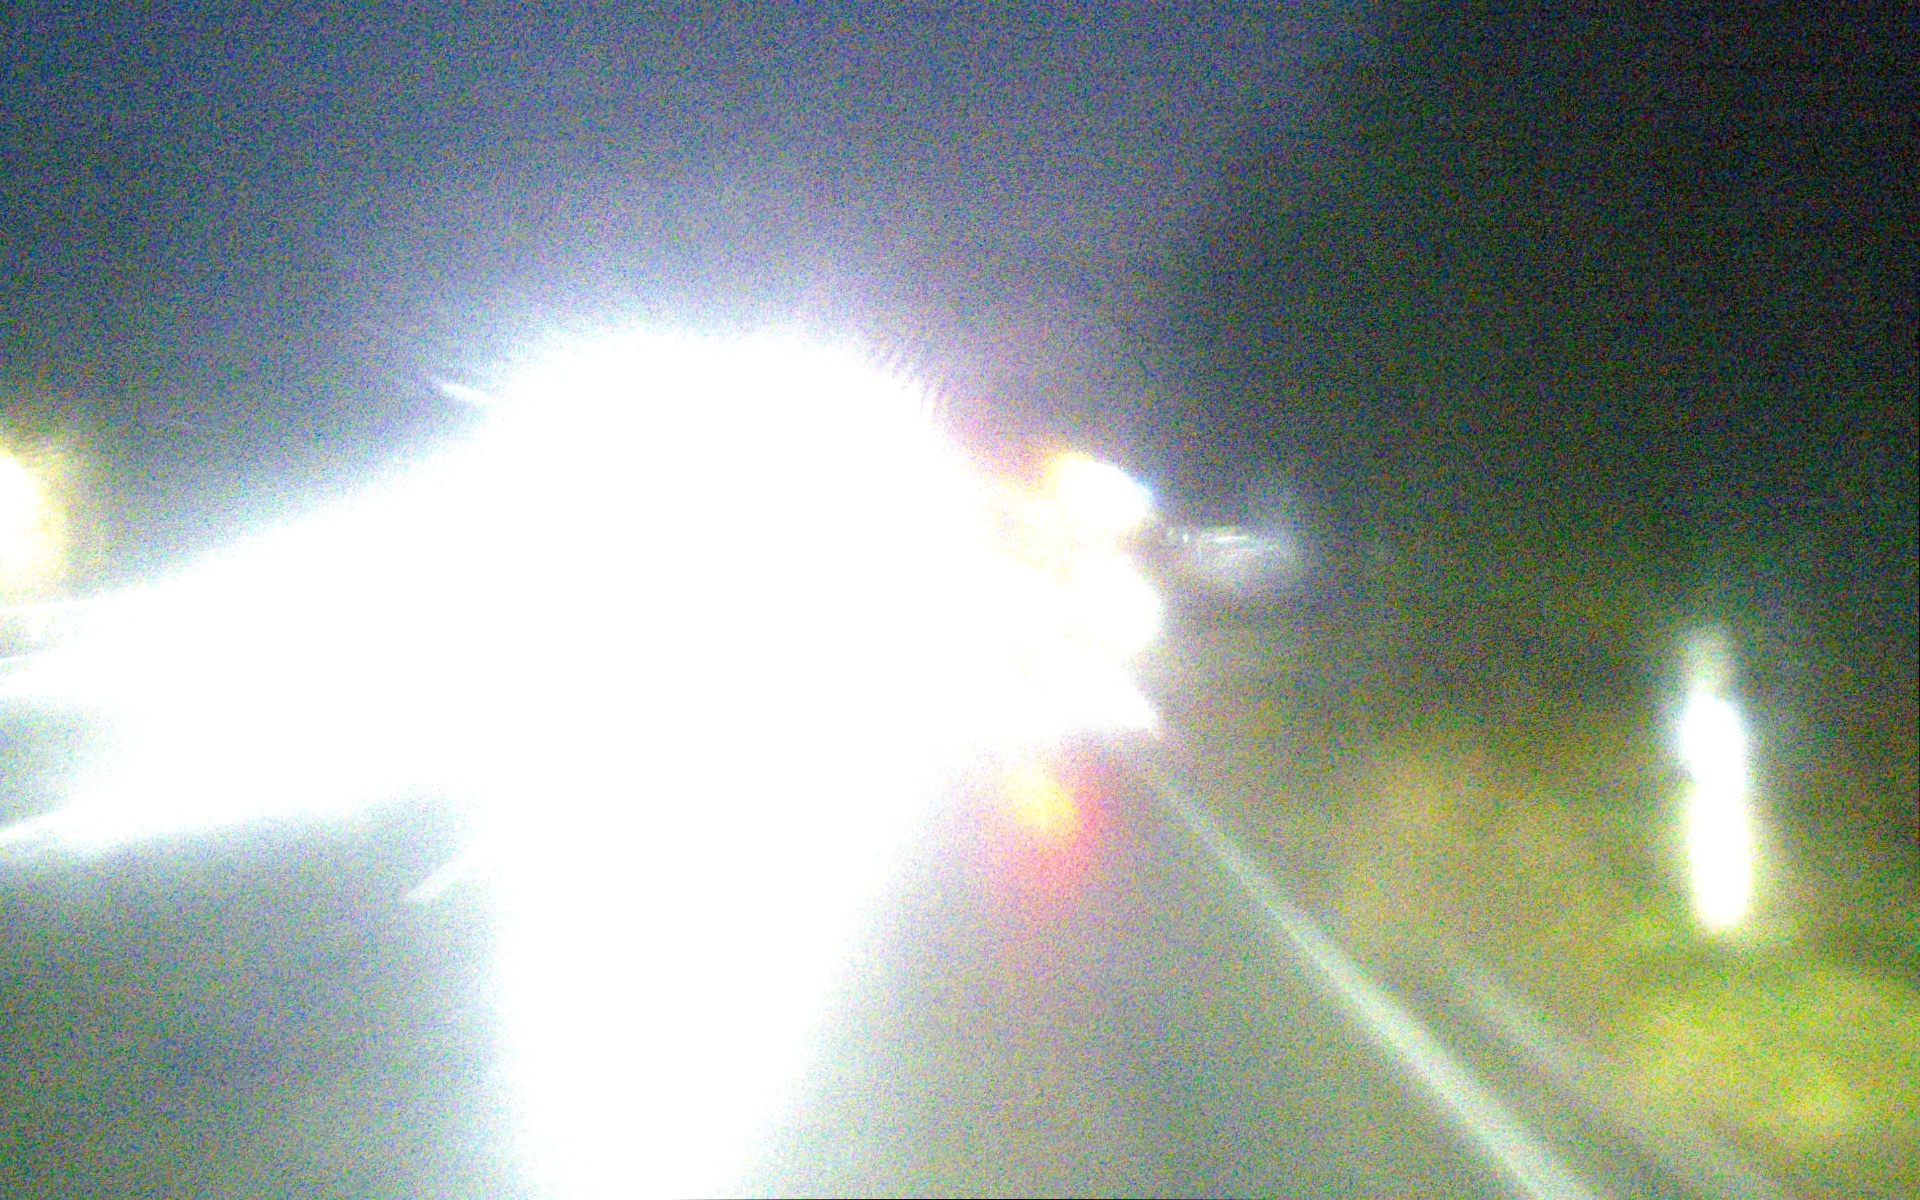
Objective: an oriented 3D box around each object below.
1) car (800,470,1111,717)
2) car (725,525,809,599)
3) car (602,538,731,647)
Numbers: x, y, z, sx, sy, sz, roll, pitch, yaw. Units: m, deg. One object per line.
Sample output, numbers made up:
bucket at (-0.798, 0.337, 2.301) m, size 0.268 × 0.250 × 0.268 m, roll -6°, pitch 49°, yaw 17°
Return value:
car at (-0.095, -0.079, 29.681) m, size 2.457 × 1.952 × 4.912 m, roll 0°, pitch 1°, yaw -1°
car at (-4.814, -0.974, 86.099) m, size 1.855 × 1.677 × 4.326 m, roll -2°, pitch 2°, yaw -1°
car at (-4.528, -0.147, 53.467) m, size 1.795 × 1.532 × 3.801 m, roll -2°, pitch 1°, yaw -2°
